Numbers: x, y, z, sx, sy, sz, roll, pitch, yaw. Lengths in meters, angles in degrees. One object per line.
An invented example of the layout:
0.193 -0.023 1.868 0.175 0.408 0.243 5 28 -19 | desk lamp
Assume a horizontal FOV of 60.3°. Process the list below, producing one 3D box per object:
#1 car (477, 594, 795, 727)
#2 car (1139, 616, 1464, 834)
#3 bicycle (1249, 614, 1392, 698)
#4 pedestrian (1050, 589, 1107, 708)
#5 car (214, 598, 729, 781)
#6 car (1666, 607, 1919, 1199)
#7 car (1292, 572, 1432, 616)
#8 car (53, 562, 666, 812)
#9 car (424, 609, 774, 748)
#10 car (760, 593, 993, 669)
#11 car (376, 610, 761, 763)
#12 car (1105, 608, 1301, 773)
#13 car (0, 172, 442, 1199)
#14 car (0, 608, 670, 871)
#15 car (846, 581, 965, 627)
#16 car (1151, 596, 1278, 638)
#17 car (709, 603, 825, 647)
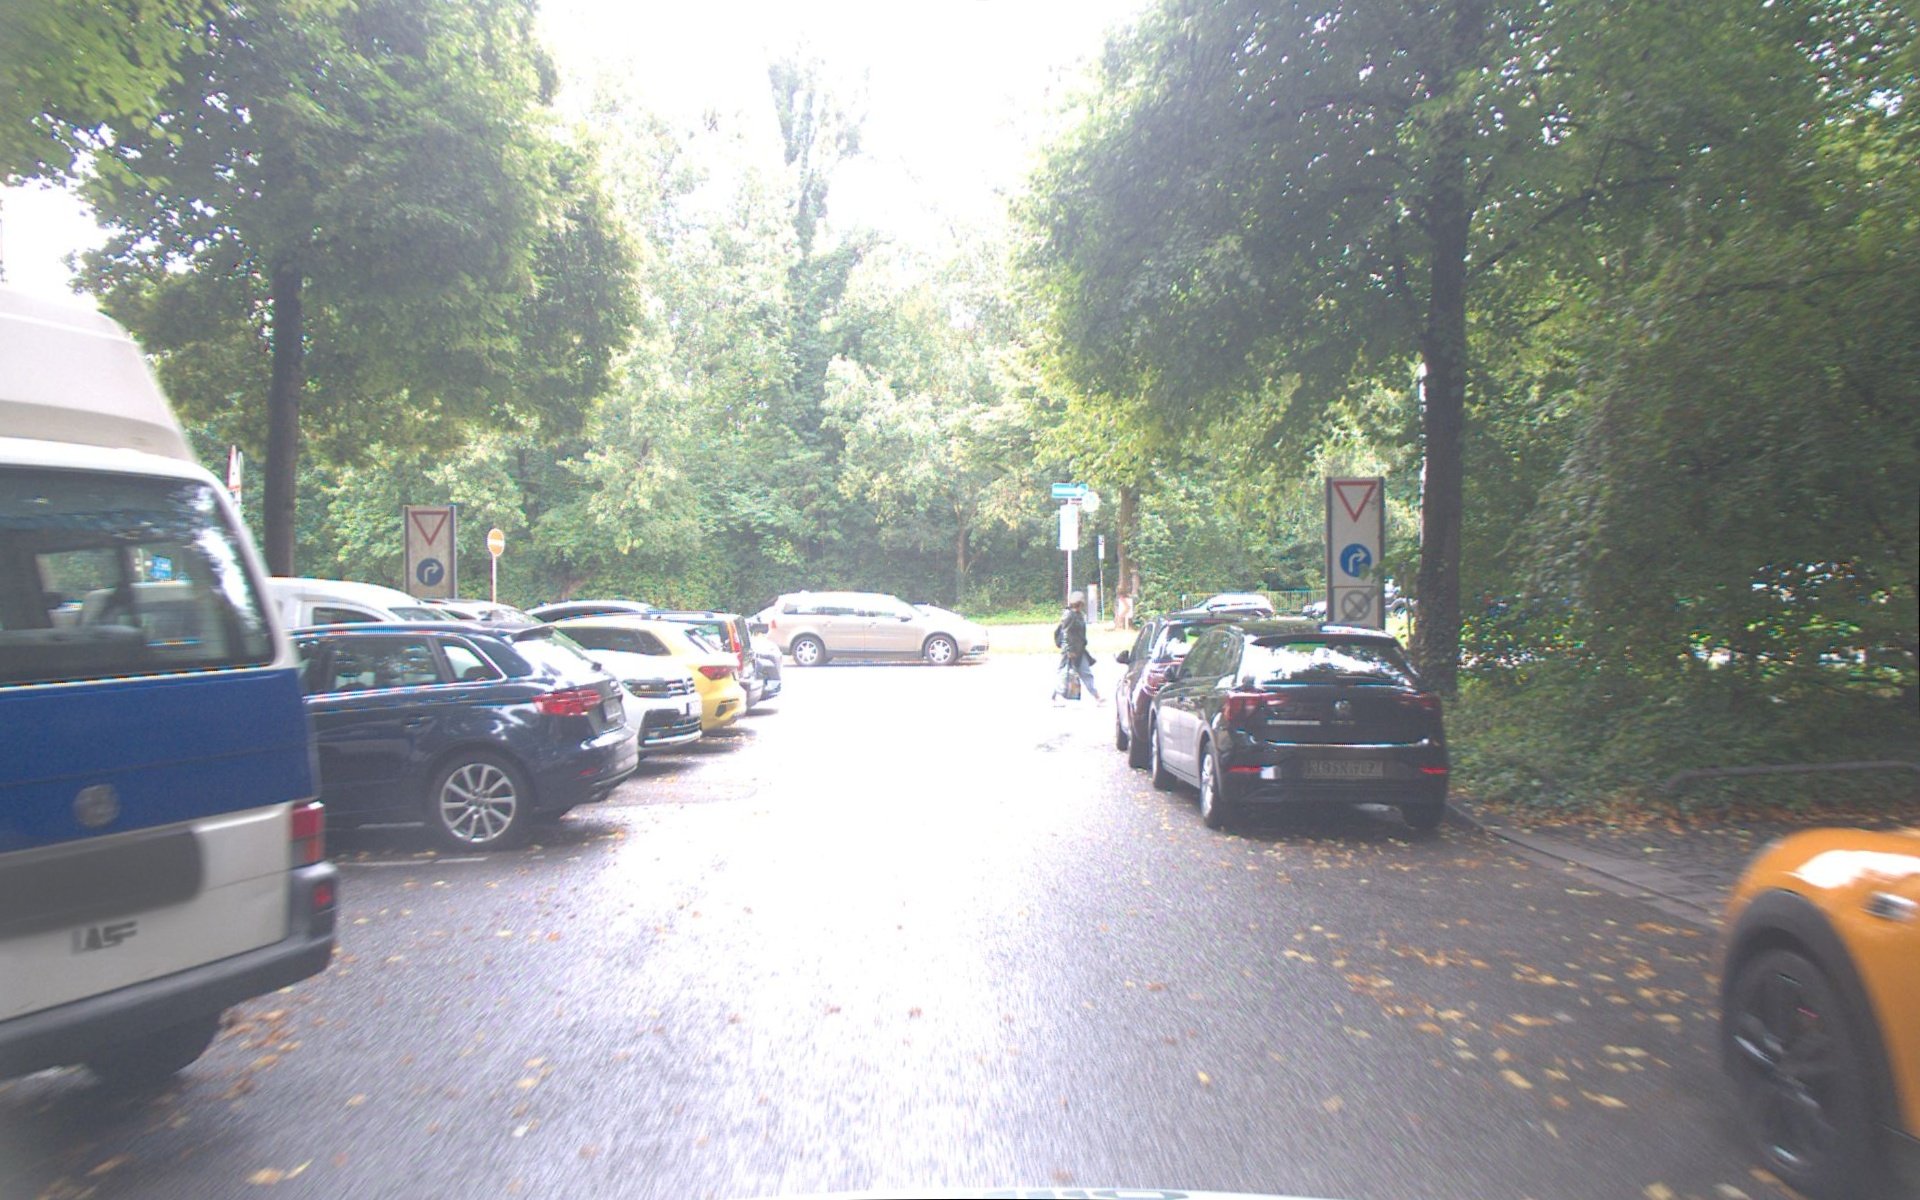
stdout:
-4.461 0.817 23.226 4.078 1.629 1.736 -2 2 -1 | car
2.492 0.850 13.009 1.647 1.382 4.008 0 0 -1 | car
4.495 0.700 20.668 1.715 0.999 0.273 -1 0 8 | bicycle
1.687 0.685 23.611 0.763 1.645 0.761 0 2 2 | pedestrian
-4.573 0.813 15.884 4.354 1.624 1.836 -1 0 4 | car
3.060 0.750 3.194 1.586 1.437 3.777 -1 0 -4 | car
15.644 -0.239 64.467 4.937 1.593 1.996 -1 0 -9 | car
-4.702 0.657 13.381 4.223 1.761 1.849 -2 0 2 | car
-4.362 0.929 20.413 3.906 1.489 1.735 -2 1 -1 | car
-1.708 0.641 34.874 4.700 1.522 1.843 -1 0 4 | car
-4.186 0.906 18.155 3.801 1.466 1.740 -2 0 -2 | car
2.428 0.855 17.267 1.613 1.500 3.644 -1 0 2 | car
-4.034 0.315 4.984 4.475 2.419 1.905 -2 0 22 | car
-4.025 0.847 10.882 3.906 1.458 1.735 -2 0 -1 | car
-2.053 0.140 62.157 4.346 1.606 1.931 -1 0 -3 | car
9.800 0.639 63.832 4.497 1.497 1.928 -1 0 -9 | car
-7.197 0.932 61.985 4.149 1.520 1.999 -1 0 -3 | car
